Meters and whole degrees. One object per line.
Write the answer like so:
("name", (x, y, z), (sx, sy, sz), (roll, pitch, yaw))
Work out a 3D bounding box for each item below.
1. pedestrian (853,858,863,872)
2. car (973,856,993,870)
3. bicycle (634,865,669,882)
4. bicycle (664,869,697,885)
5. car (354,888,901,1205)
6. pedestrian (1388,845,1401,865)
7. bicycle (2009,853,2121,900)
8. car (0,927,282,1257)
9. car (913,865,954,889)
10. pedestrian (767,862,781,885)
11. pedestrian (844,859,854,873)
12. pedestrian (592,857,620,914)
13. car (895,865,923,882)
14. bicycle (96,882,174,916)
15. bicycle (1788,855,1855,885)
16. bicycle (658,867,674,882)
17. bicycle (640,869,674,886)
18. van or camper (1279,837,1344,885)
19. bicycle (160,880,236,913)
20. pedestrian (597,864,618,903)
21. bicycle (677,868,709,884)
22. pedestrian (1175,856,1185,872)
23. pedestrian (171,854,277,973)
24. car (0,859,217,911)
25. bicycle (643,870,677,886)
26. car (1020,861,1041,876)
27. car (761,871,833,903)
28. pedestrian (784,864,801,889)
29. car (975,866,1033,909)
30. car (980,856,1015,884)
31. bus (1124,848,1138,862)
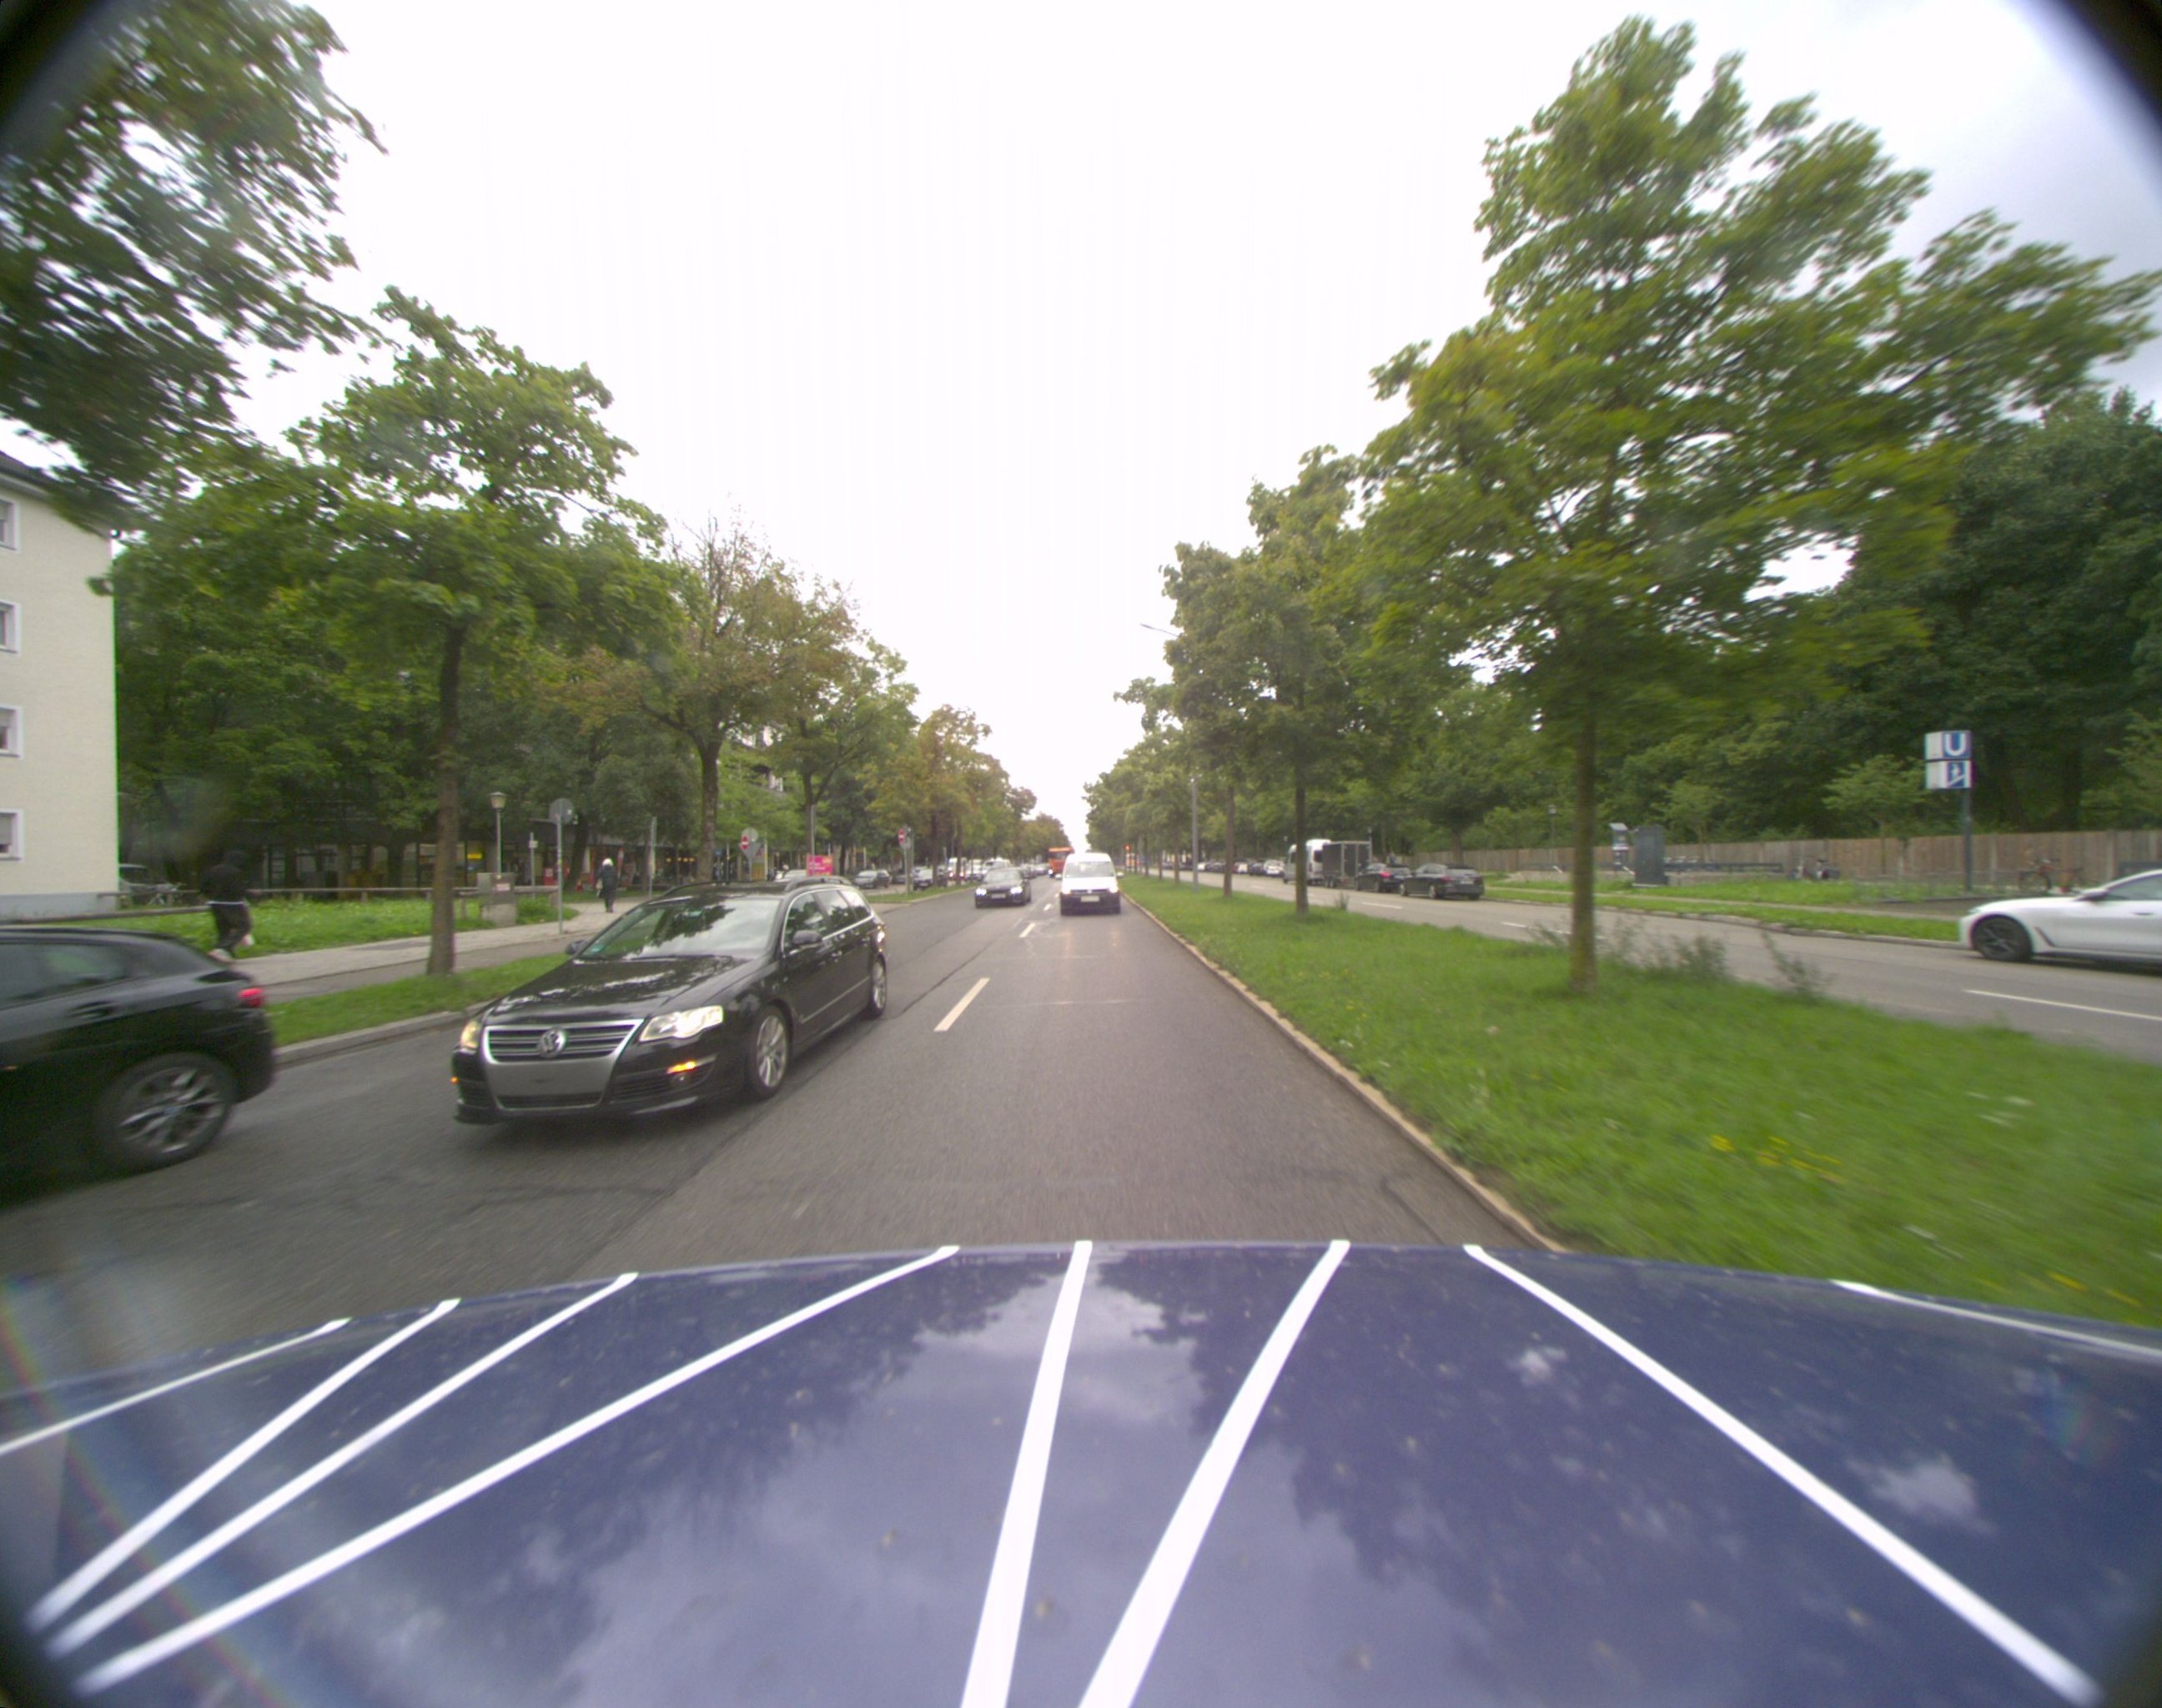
("pedestrian", (-27.193, 1.393, 92.761), (0.872, 1.689, 0.771), (0, 1, 15))
("car", (-15.471, 1.367, 120.214), (2.268, 2.091, 5.858), (-1, 0, 1))
("bicycle", (-28.975, 1.308, 51.303), (2.080, 1.113, 0.455), (-1, 0, 0))
("bicycle", (-28.605, 1.630, 54.262), (2.080, 1.113, 0.455), (-1, 0, 0))
("car", (-2.923, 1.120, 6.236), (1.735, 1.424, 4.442), (-2, 0, 0))
("pedestrian", (27.426, 0.100, 66.516), (0.770, 1.757, 0.874), (0, 0, -3))
("bicycle", (24.376, 0.543, 18.878), (0.432, 1.094, 1.826), (-2, 0, 1))
("car", (-6.068, 1.224, 2.779), (1.755, 1.457, 4.176), (-2, 0, 2))
("car", (-9.969, 1.516, 51.672), (1.732, 1.424, 4.691), (-2, 0, 0))
("pedestrian", (-21.286, 1.353, 52.674), (0.659, 1.533, 0.633), (1, 1, 25))
("pedestrian", (-27.593, 1.447, 90.244), (0.769, 1.689, 0.875), (0, 1, 15))
("pedestrian", (-14.869, 0.981, 23.806), (0.642, 1.720, 0.600), (-2, 1, -30))
("car", (-15.888, 1.751, 70.319), (1.827, 1.521, 4.601), (0, -1, -3))
("bicycle", (-28.804, 1.363, 23.139), (1.696, 0.965, 0.455), (-1, 0, -3))
("bicycle", (25.161, 0.539, 25.823), (1.824, 0.924, 0.433), (-2, 0, 0))
("bicycle", (-32.614, 1.624, 59.751), (0.455, 1.113, 1.554), (-1, 0, -3))
("bicycle", (-29.100, 1.603, 52.138), (2.080, 1.113, 0.455), (-1, 0, 0))
("van or camper", (14.764, 0.439, 49.187), (2.040, 2.821, 7.547), (0, 0, 1))
("bicycle", (-27.021, 1.307, 23.266), (1.696, 0.965, 0.455), (-1, 0, -3))
("pedestrian", (-19.518, 1.225, 31.335), (0.581, 1.565, 0.779), (-3, 1, -40))
("bicycle", (-28.871, 1.622, 56.564), (2.080, 1.113, 0.455), (-1, 0, 0))
("pedestrian", (10.005, 1.007, 76.873), (0.872, 1.689, 0.771), (0, 1, 21))
("pedestrian", (-13.011, 0.883, 11.568), (0.641, 1.739, 0.849), (1, 0, -2))
("car", (-41.505, 1.261, 32.260), (6.114, 2.041, 2.342), (0, 0, -14))
("bicycle", (-29.363, 1.684, 53.029), (2.080, 1.113, 0.455), (-1, 0, 0))
("car", (-5.474, 1.539, 82.662), (1.686, 1.513, 4.465), (-4, 0, 1))
("car", (-13.946, 1.586, 37.540), (1.726, 1.371, 4.352), (-2, 0, 2))
("pedestrian", (-18.365, 1.411, 48.315), (0.658, 1.584, 0.755), (-1, 0, 19))
("car", (-2.885, 1.229, 29.388), (1.763, 1.405, 4.462), (-2, 0, -1))
("car", (-5.979, 1.130, 55.155), (1.886, 1.916, 4.933), (-2, 0, 0))
("bus", (11.938, 0.240, 181.591), (2.676, 3.279, 11.926), (1, 0, 1))
